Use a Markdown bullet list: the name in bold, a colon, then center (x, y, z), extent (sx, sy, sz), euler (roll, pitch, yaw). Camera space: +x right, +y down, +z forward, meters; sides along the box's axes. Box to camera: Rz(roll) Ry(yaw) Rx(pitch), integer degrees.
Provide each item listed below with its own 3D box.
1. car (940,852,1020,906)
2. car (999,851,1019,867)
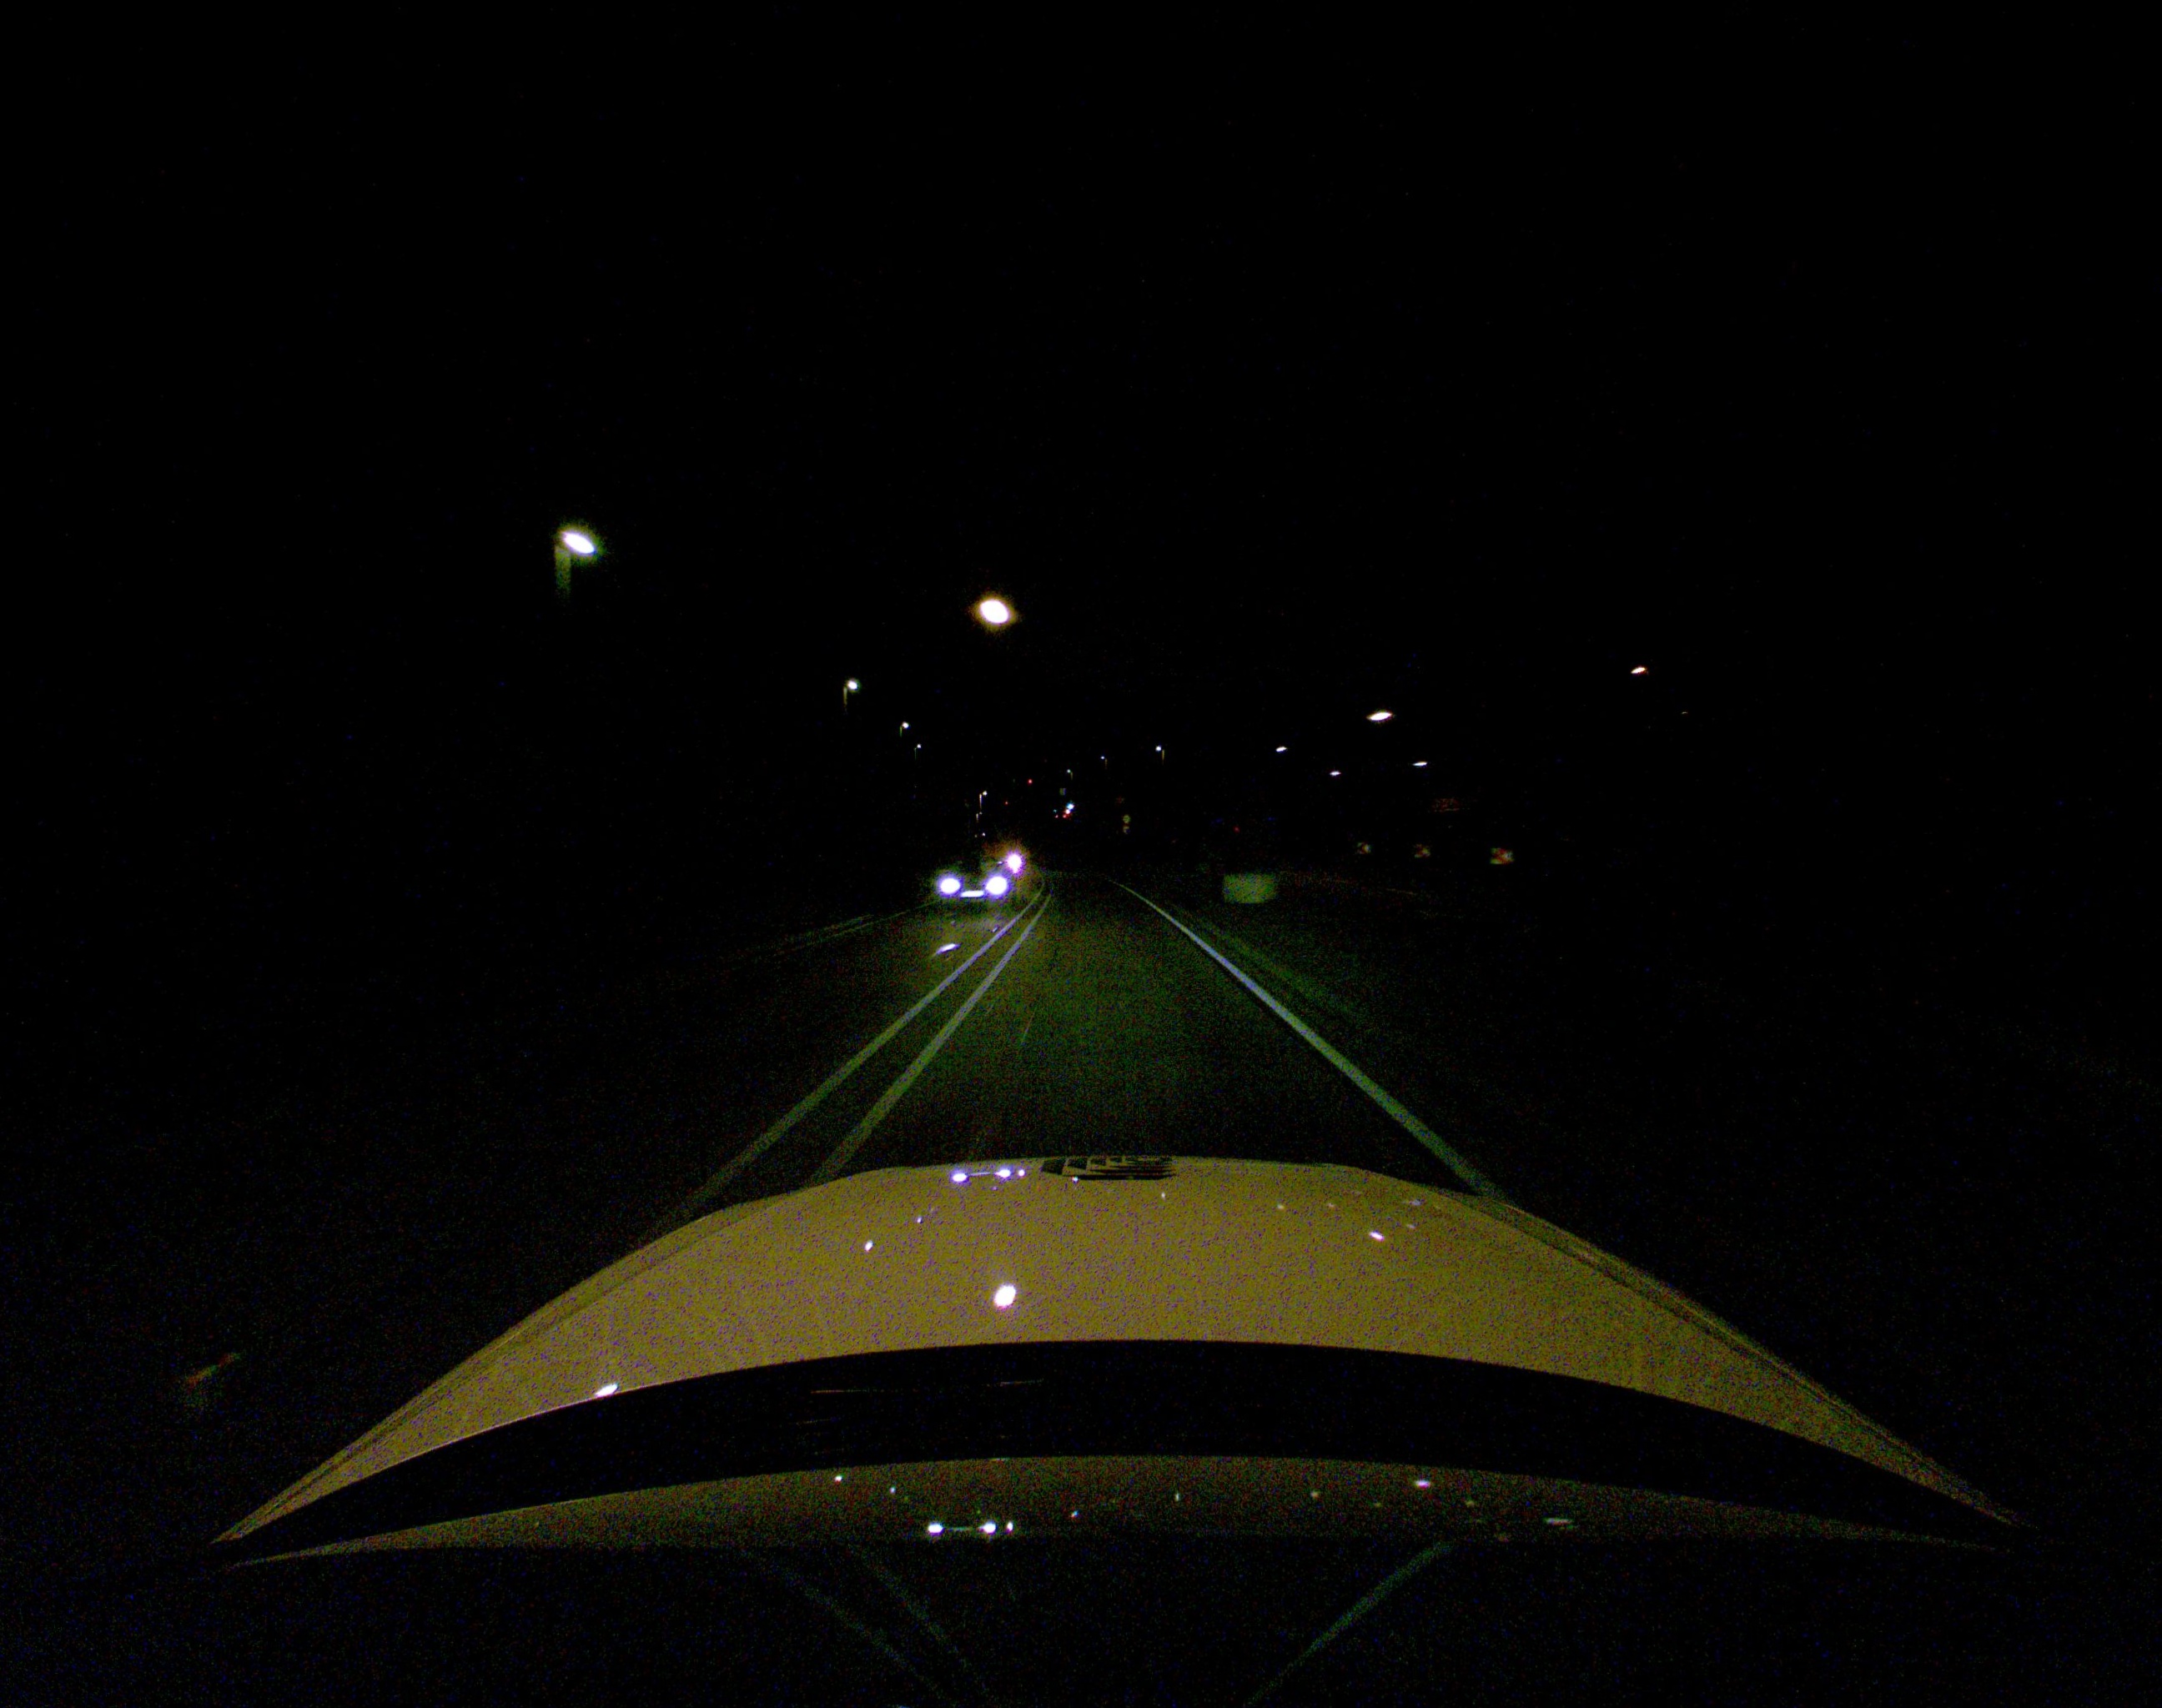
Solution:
- **car**: center (-2.847, 0.696, 23.882), extent (1.782, 1.447, 4.171), euler (0, -1, 0)
- **car**: center (-7.114, 0.495, 80.464), extent (1.855, 1.510, 3.994), euler (-1, 0, -4)
